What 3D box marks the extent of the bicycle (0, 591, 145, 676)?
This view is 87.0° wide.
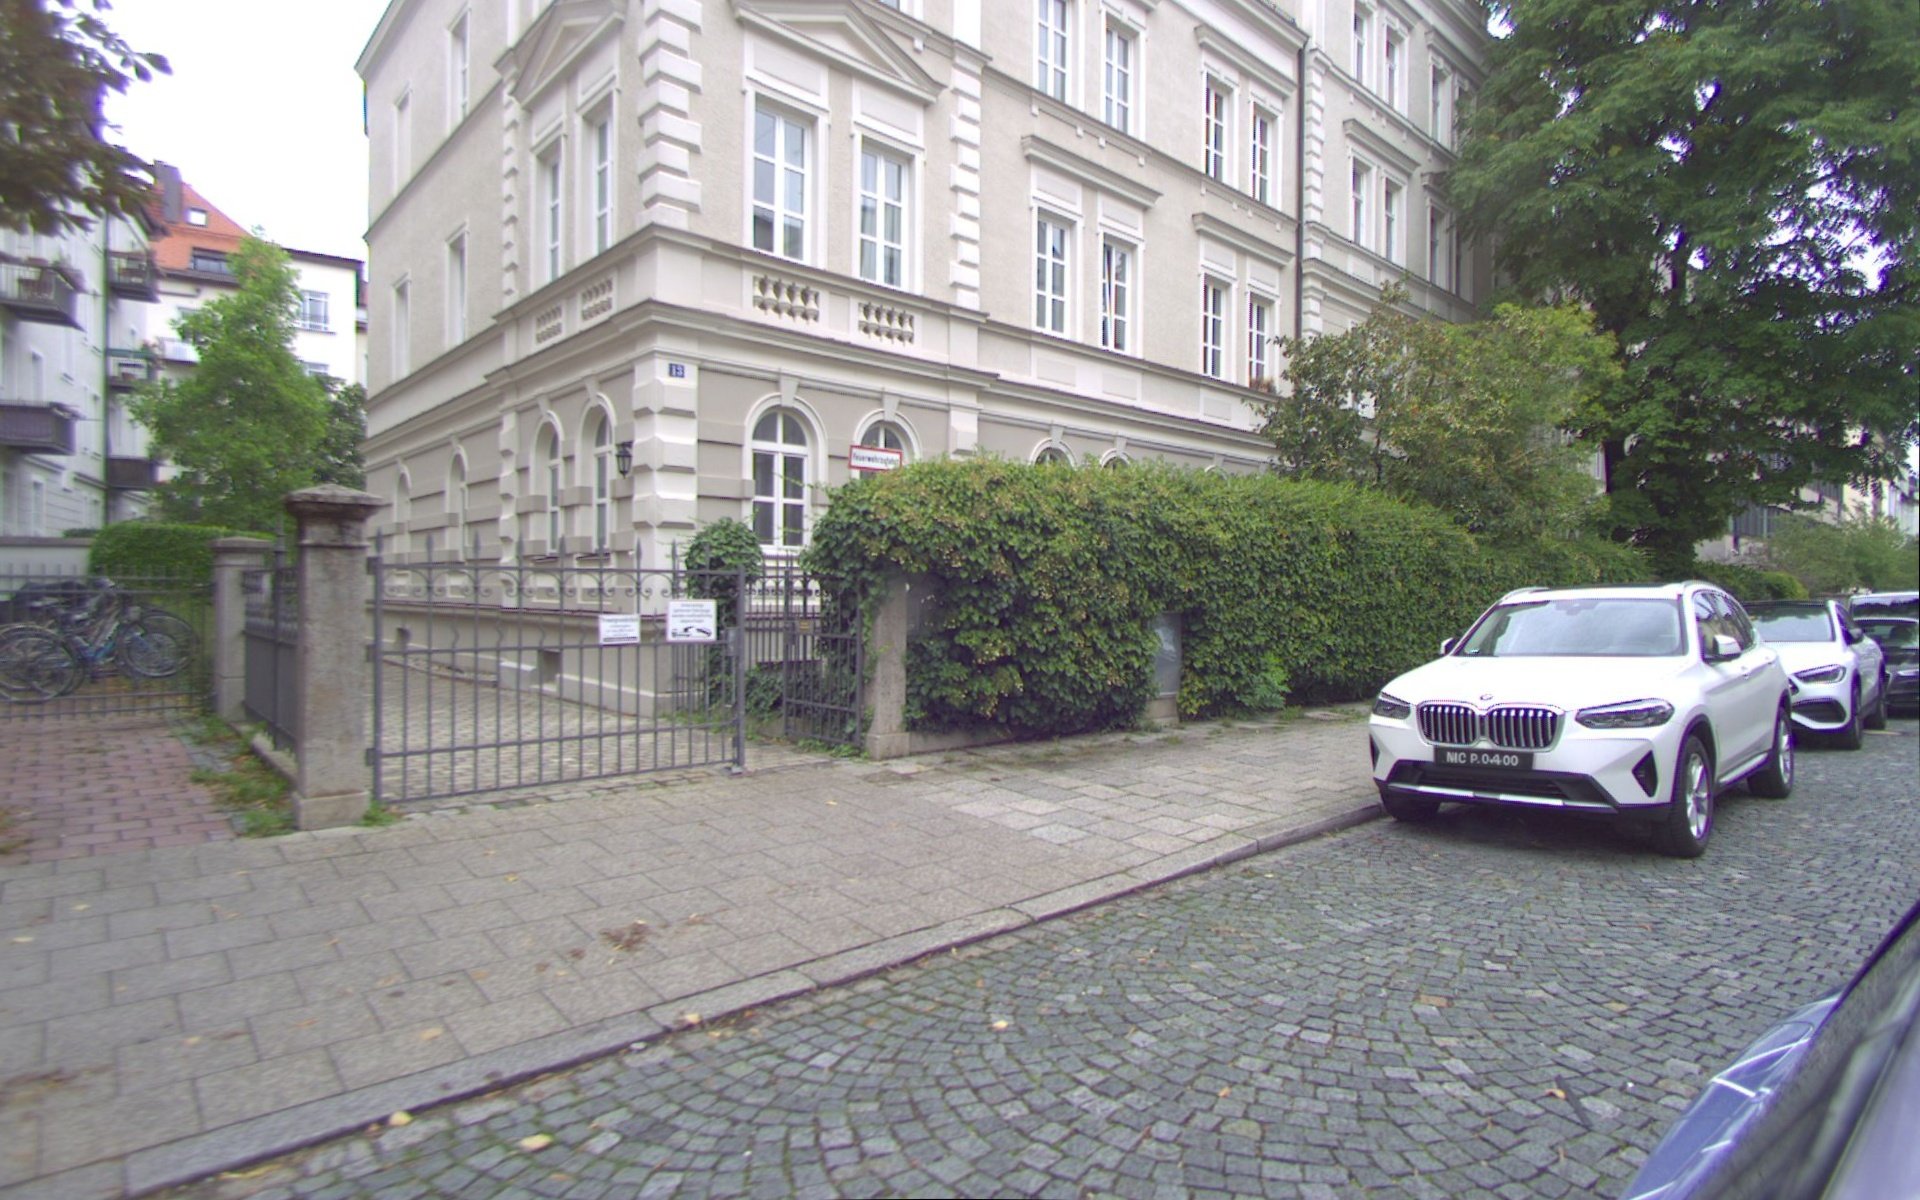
[{"bbox_3d":[-12.274,0.431,13.907,0.420,1.115,1.648,0,0,43],"label":"bicycle"}]

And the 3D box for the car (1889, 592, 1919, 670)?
[{"bbox_3d":[26.761,0.791,27.397,3.931,2.039,1.997,0,0,-41],"label":"car"}]

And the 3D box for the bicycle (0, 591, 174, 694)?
[{"bbox_3d":[-10.080,0.453,11.597,0.420,1.115,1.648,0,0,43],"label":"bicycle"}]

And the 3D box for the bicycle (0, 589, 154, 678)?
[{"bbox_3d":[-11.727,0.412,13.380,0.420,1.115,1.648,0,0,43],"label":"bicycle"}]

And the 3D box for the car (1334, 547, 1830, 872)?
[{"bbox_3d":[4.832,0.533,7.547,4.554,1.707,1.923,-1,1,-41],"label":"car"}]

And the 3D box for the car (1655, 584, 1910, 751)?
[{"bbox_3d":[9.835,0.638,11.972,4.396,1.620,1.749,0,0,-43],"label":"car"}]

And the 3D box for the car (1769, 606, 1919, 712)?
[{"bbox_3d":[13.818,0.776,15.205,4.727,1.314,1.921,0,0,-43],"label":"car"}]

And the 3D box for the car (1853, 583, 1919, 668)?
[{"bbox_3d":[22.499,0.539,23.729,4.728,1.843,1.815,0,-3,-43],"label":"car"}]

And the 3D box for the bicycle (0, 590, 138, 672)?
[{"bbox_3d":[-12.756,0.418,14.372,0.420,1.115,1.648,0,0,43],"label":"bicycle"}]

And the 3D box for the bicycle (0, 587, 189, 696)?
[{"bbox_3d":[-9.496,0.421,11.078,0.420,1.115,1.648,0,0,43],"label":"bicycle"}]

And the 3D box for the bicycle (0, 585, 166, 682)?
[{"bbox_3d":[-10.735,0.381,12.314,0.420,1.115,1.648,0,0,43],"label":"bicycle"}]

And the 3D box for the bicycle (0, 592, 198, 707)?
[{"bbox_3d":[-9.036,0.479,10.595,0.420,1.115,1.648,0,0,43],"label":"bicycle"}]

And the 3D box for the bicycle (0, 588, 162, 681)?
[{"bbox_3d":[-11.204,0.405,12.842,0.420,1.115,1.648,0,0,43],"label":"bicycle"}]

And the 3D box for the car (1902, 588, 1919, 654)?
[{"bbox_3d":[31.467,0.651,32.068,3.931,2.039,1.997,0,0,-41],"label":"car"}]
